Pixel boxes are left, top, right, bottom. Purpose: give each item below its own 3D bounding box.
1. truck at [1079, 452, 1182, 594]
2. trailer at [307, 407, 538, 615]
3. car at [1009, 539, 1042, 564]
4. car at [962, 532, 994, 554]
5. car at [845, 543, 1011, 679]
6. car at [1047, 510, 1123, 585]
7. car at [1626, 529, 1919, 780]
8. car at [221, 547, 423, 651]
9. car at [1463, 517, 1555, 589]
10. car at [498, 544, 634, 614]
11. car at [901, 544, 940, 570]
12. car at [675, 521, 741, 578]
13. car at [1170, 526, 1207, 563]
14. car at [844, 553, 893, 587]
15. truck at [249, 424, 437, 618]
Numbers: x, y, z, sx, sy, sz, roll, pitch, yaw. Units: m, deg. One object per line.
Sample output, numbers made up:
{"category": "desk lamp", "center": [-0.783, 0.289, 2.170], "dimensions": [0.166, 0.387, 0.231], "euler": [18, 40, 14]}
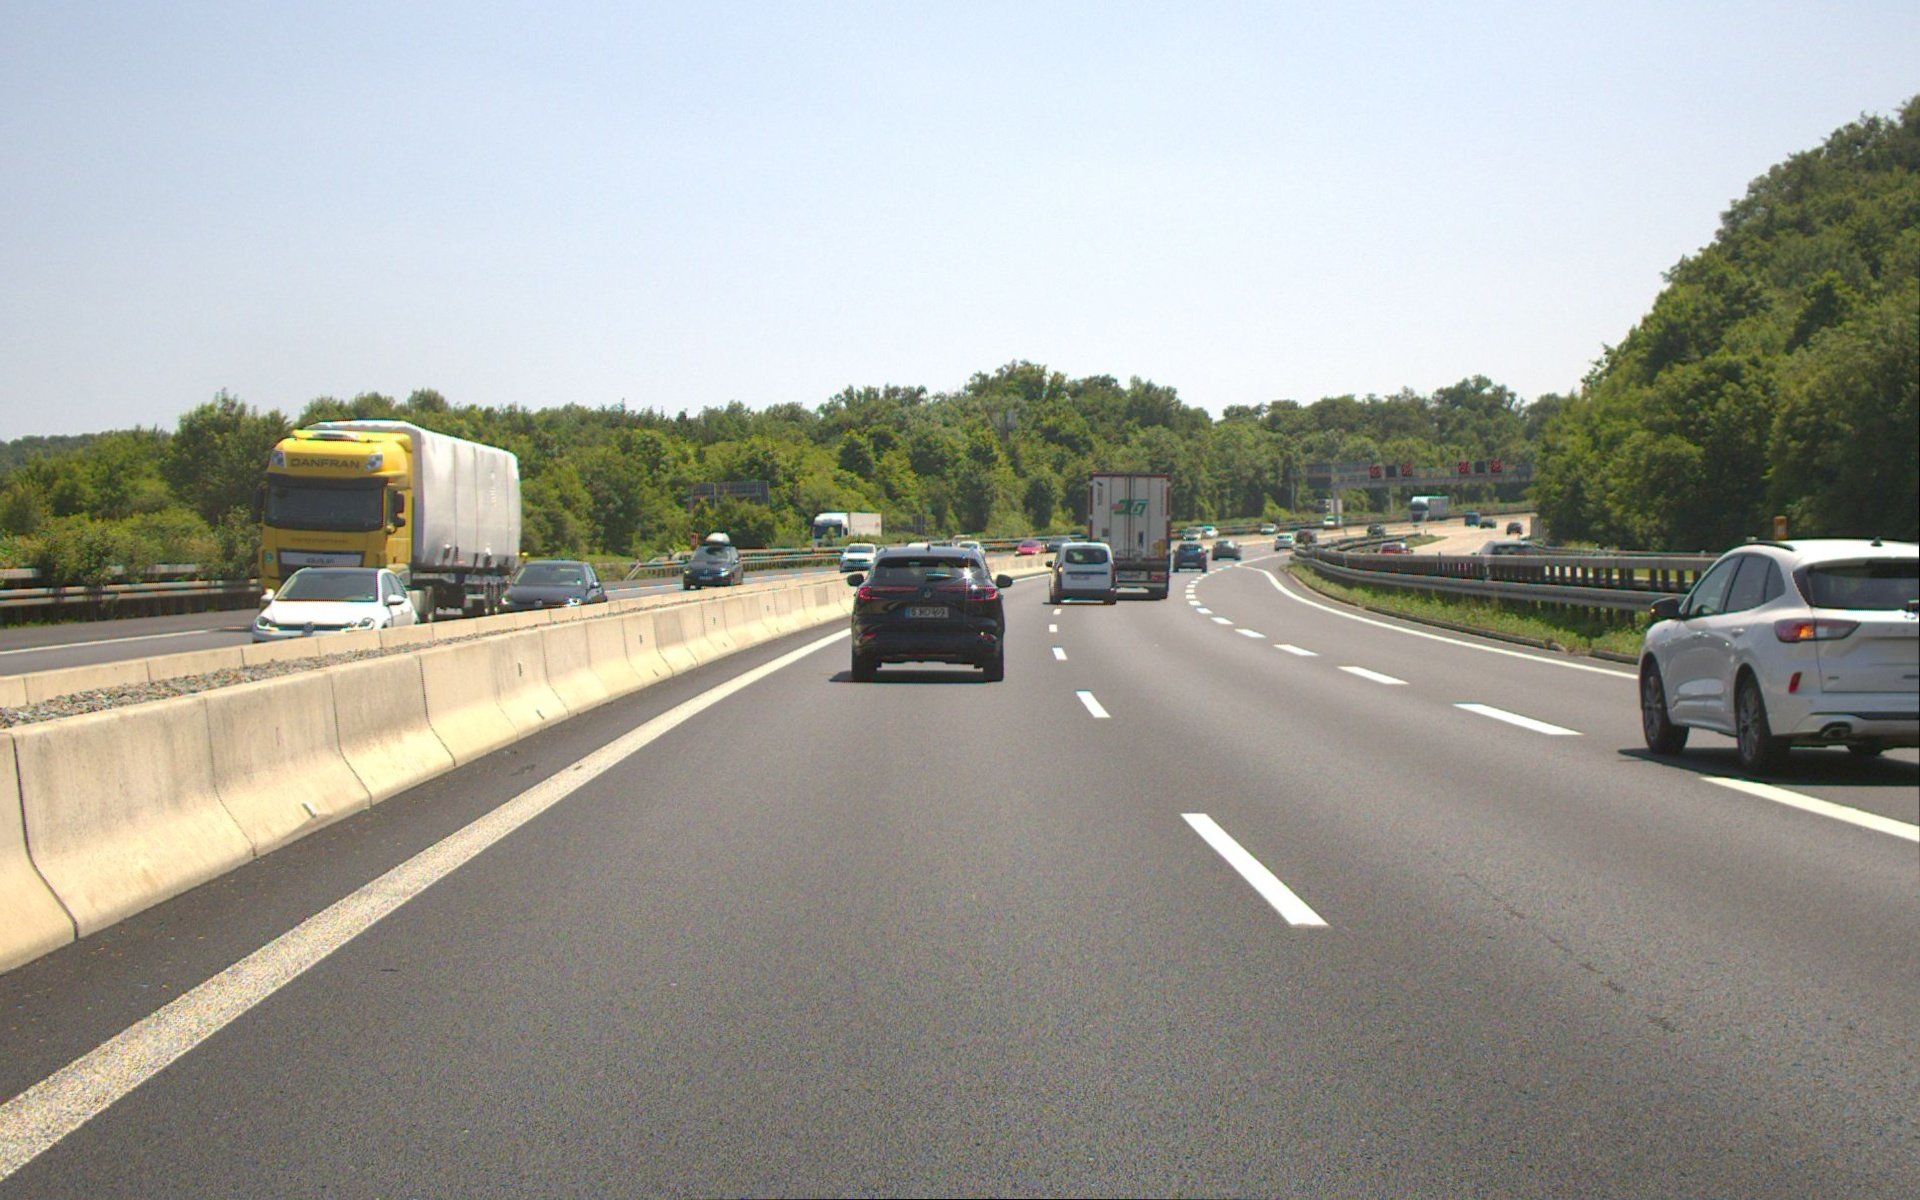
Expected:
{"category": "truck", "center": [5.678, -2.465, 112.973], "dimensions": [3.032, 4.403, 12.017], "euler": [0, 1, 4]}
{"category": "trailer", "center": [-11.937, -1.916, 77.706], "dimensions": [2.718, 4.297, 12.823], "euler": [0, 1, 2]}
{"category": "car", "center": [4.396, -3.267, 230.956], "dimensions": [1.994, 1.653, 4.634], "euler": [0, 1, 4]}
{"category": "car", "center": [1.199, -3.831, 230.447], "dimensions": [1.851, 1.390, 4.000], "euler": [1, 1, 4]}
{"category": "car", "center": [-0.438, 0.106, 41.779], "dimensions": [1.779, 1.572, 4.001], "euler": [0, 1, -4]}
{"category": "car", "center": [3.645, -1.535, 99.761], "dimensions": [1.994, 2.007, 4.000], "euler": [-3, 1, 4]}
{"category": "car", "center": [6.385, 0.335, 25.002], "dimensions": [1.993, 1.656, 4.468], "euler": [0, 1, -3]}
{"category": "car", "center": [-8.884, -0.047, 48.242], "dimensions": [1.993, 1.369, 4.663], "euler": [-1, 1, -1]}
{"category": "car", "center": [16.167, -1.396, 101.421], "dimensions": [1.993, 2.007, 4.000], "euler": [-2, 1, 0]}
{"category": "car", "center": [-7.810, -0.434, 68.500], "dimensions": [1.994, 1.345, 4.258], "euler": [0, 1, 3]}
{"category": "car", "center": [-2.334, -2.537, 204.250], "dimensions": [1.994, 1.538, 5.041], "euler": [0, 1, 3]}
{"category": "car", "center": [-9.293, -1.873, 127.200], "dimensions": [1.993, 2.074, 4.704], "euler": [0, 1, 1]}
{"category": "car", "center": [12.509, -3.006, 188.141], "dimensions": [1.994, 2.007, 4.000], "euler": [0, 1, 3]}
{"category": "car", "center": [-4.638, -1.533, 174.433], "dimensions": [1.869, 1.660, 4.663], "euler": [0, 1, 6]}
{"category": "truck", "center": [-12.294, -1.559, 68.872], "dimensions": [2.749, 3.741, 4.866], "euler": [0, 1, 2]}
